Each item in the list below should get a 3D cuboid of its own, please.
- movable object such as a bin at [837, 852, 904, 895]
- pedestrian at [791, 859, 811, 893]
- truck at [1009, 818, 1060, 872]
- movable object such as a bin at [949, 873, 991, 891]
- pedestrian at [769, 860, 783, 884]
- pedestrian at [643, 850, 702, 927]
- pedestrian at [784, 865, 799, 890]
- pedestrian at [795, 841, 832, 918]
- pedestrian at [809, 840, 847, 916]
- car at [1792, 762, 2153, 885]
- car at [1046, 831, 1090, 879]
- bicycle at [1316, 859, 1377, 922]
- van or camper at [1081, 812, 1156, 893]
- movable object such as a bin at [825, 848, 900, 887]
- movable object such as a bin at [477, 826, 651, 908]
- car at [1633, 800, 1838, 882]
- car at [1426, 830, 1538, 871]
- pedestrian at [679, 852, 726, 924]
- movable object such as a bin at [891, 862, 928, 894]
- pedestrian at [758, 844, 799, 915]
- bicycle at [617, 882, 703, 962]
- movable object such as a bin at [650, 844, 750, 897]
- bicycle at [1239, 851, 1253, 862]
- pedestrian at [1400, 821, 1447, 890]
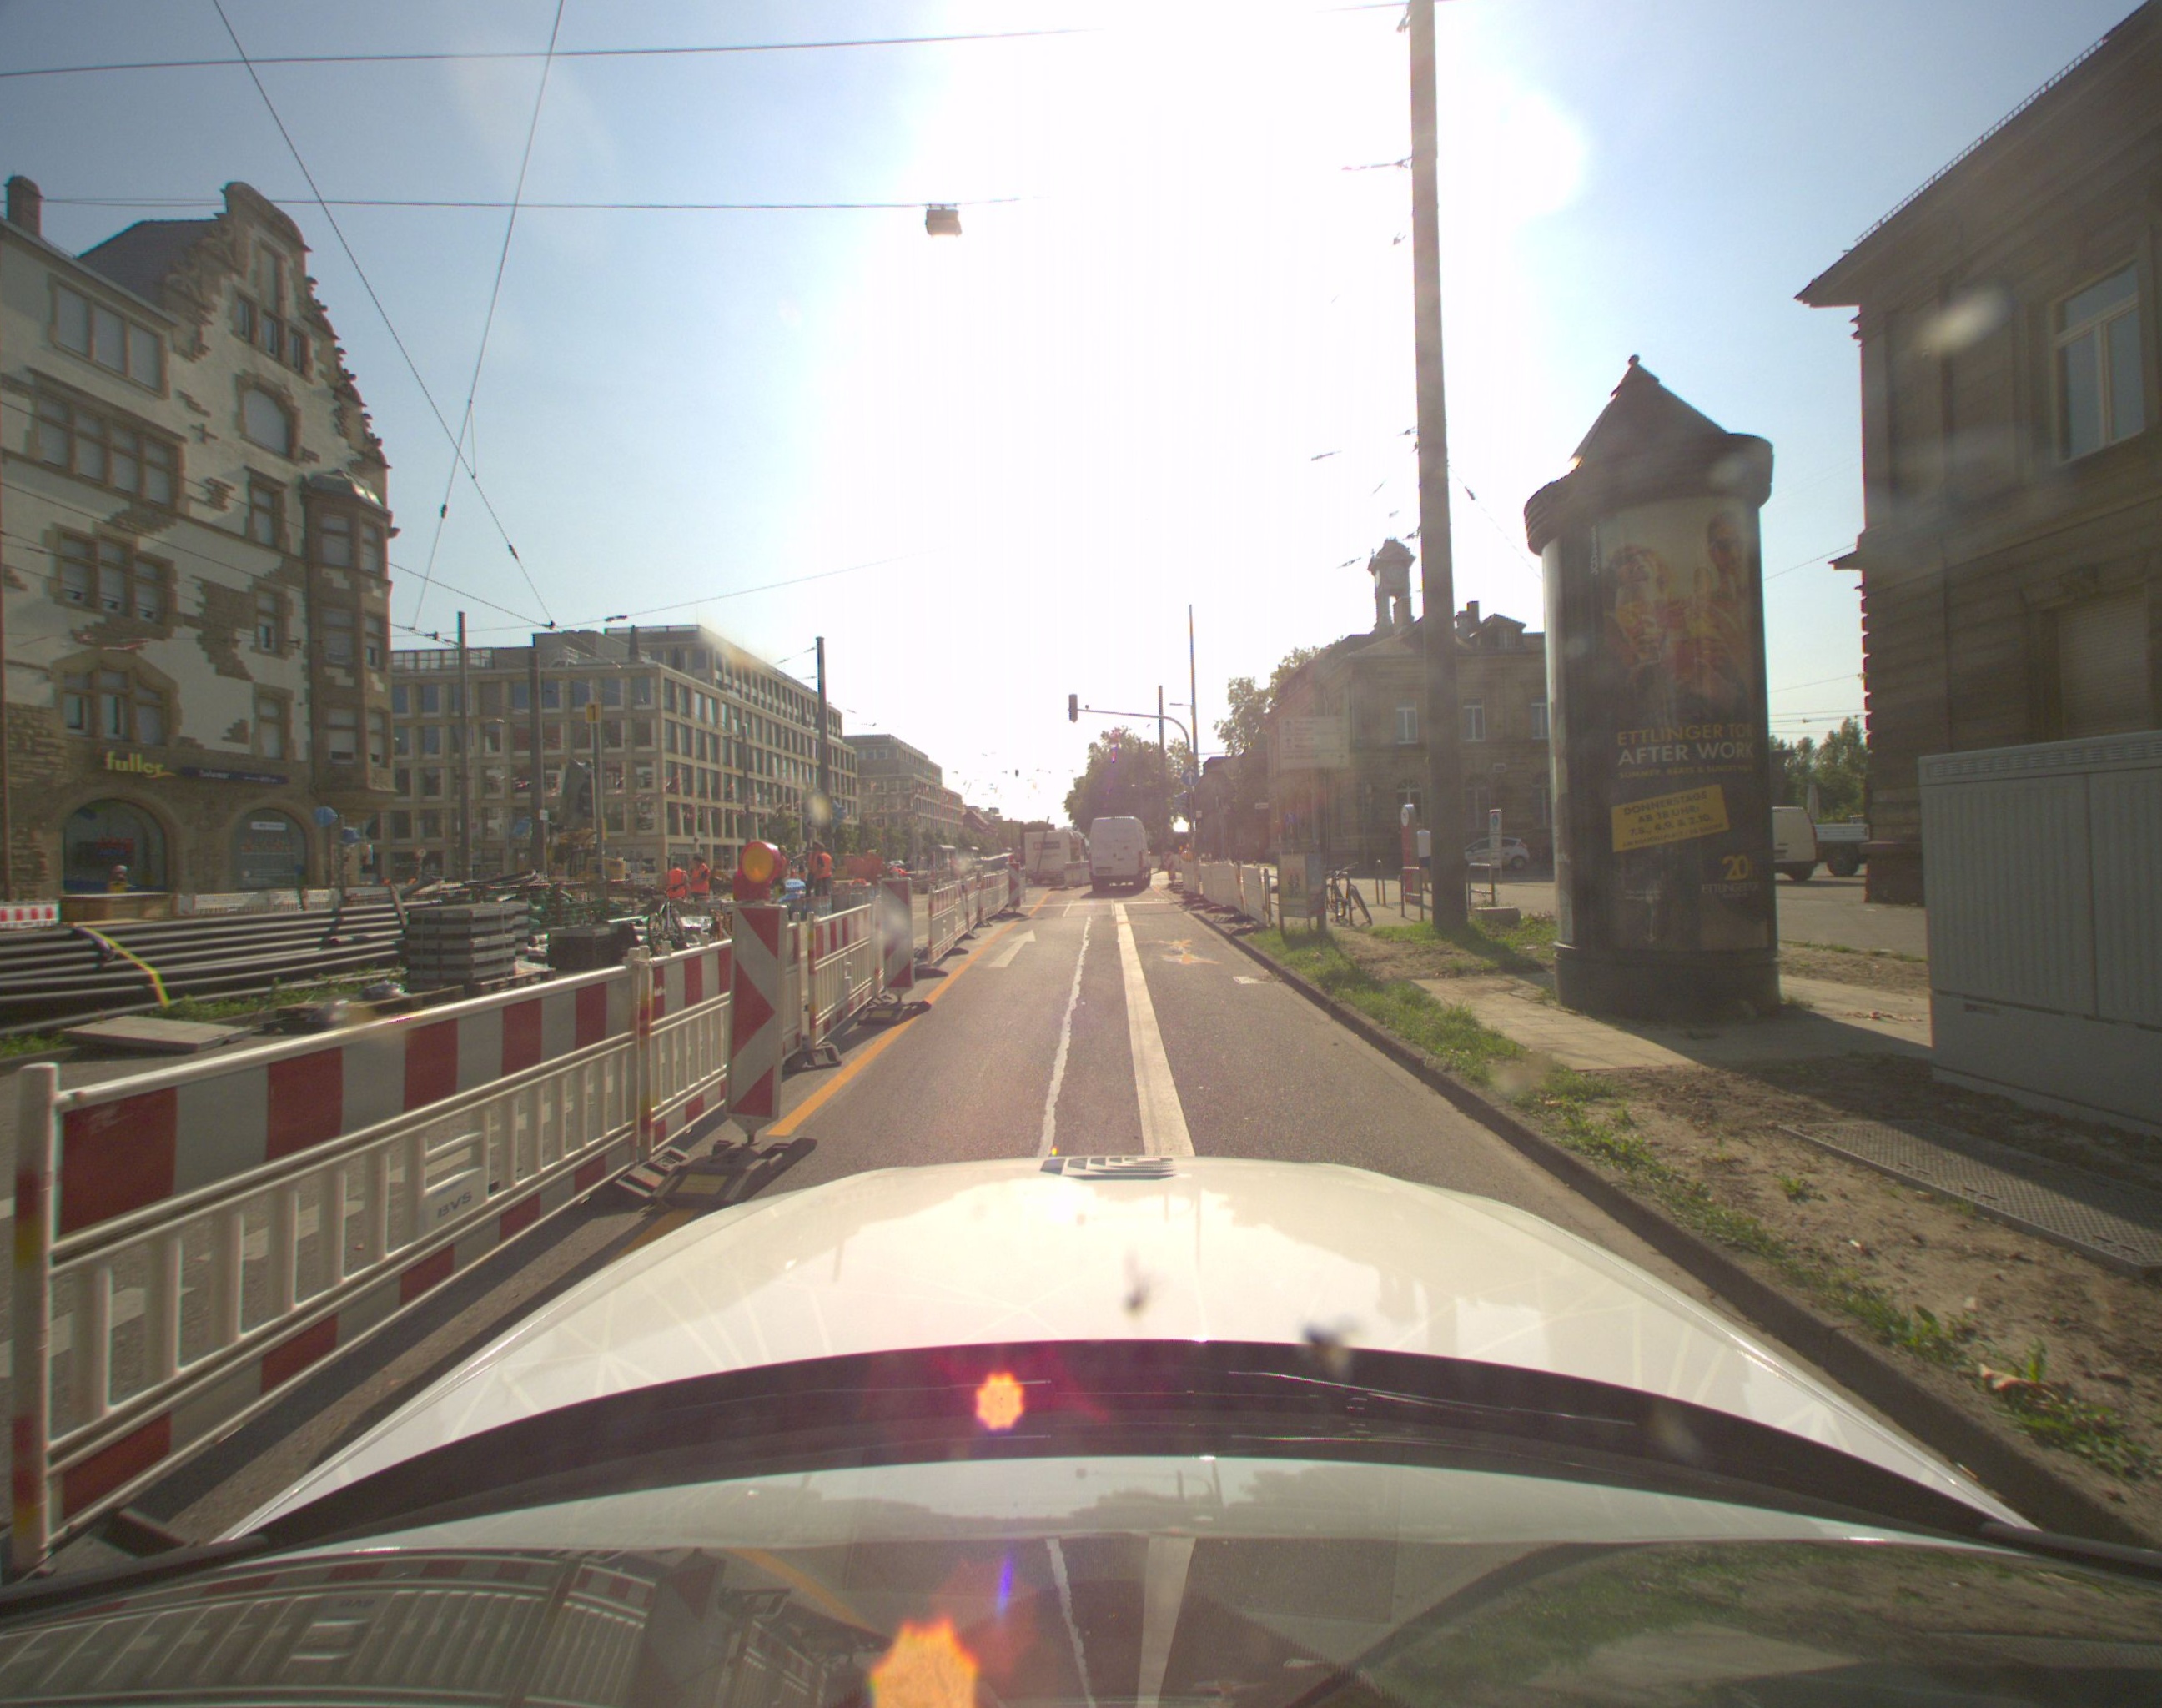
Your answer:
[{"bbox_3d":[-8.299,0.730,32.380,1.593,1.559,3.289,-2,0,3],"label":"movable object such as a bin"},{"bbox_3d":[-16.327,1.270,47.455,0.781,1.912,0.725,-3,-1,10],"label":"pedestrian"},{"bbox_3d":[-3.704,-0.680,62.832,2.793,3.912,8.387,-1,0,-11],"label":"truck"},{"bbox_3d":[-4.664,1.175,34.214,1.701,0.713,0.722,-3,-1,34],"label":"movable object such as a bin"},{"bbox_3d":[-23.753,1.400,63.358,0.751,1.865,0.809,-2,0,-3],"label":"pedestrian"},{"bbox_3d":[-9.916,0.821,19.793,0.821,1.817,0.888,-3,-1,16],"label":"pedestrian"},{"bbox_3d":[-22.139,1.824,62.272,0.923,1.865,0.807,-2,0,-9],"label":"pedestrian"},{"bbox_3d":[-7.278,0.688,22.147,0.700,2.015,0.667,-2,-1,-36],"label":"pedestrian"},{"bbox_3d":[-6.683,0.627,21.495,0.717,1.926,0.677,-2,-1,-36],"label":"pedestrian"},{"bbox_3d":[20.560,-0.613,19.308,2.254,2.423,5.478,-2,0,-5],"label":"car"},{"bbox_3d":[-0.643,0.074,45.896,2.200,2.424,7.200,-2,0,1],"label":"car"},{"bbox_3d":[4.591,0.608,14.183,0.536,1.006,1.572,-3,0,2],"label":"bicycle"},{"bbox_3d":[1.546,-0.096,31.055,2.103,2.681,5.264,-4,0,9],"label":"van or camper"},{"bbox_3d":[-17.564,1.097,66.292,3.600,2.958,8.478,-1,-1,1],"label":"movable object such as a bin"},{"bbox_3d":[-30.694,0.791,48.601,7.304,4.347,4.988,-3,-2,14],"label":"movable object such as a bin"},{"bbox_3d":[16.632,-0.287,21.028,1.896,1.783,4.227,-3,0,2],"label":"car"},{"bbox_3d":[17.372,-0.143,35.413,3.978,1.536,1.668,-4,-1,6],"label":"car"},{"bbox_3d":[-9.851,0.879,21.201,0.835,1.809,0.745,-2,-1,-44],"label":"pedestrian"},{"bbox_3d":[-6.851,0.943,32.625,0.883,1.211,2.214,-2,0,3],"label":"movable object such as a bin"},{"bbox_3d":[-8.284,0.689,22.326,0.715,1.870,0.710,-3,-1,10],"label":"pedestrian"},{"bbox_3d":[-6.478,1.006,12.640,0.562,1.099,1.962,-1,-1,-8],"label":"bicycle"},{"bbox_3d":[-22.257,0.949,47.664,4.838,2.834,2.422,-2,-1,-36],"label":"movable object such as a bin"},{"bbox_3d":[16.486,0.273,81.463,0.492,0.999,1.807,-2,2,-18],"label":"bicycle"},{"bbox_3d":[8.899,0.048,21.194,0.863,1.737,0.671,-2,0,0],"label":"pedestrian"}]
